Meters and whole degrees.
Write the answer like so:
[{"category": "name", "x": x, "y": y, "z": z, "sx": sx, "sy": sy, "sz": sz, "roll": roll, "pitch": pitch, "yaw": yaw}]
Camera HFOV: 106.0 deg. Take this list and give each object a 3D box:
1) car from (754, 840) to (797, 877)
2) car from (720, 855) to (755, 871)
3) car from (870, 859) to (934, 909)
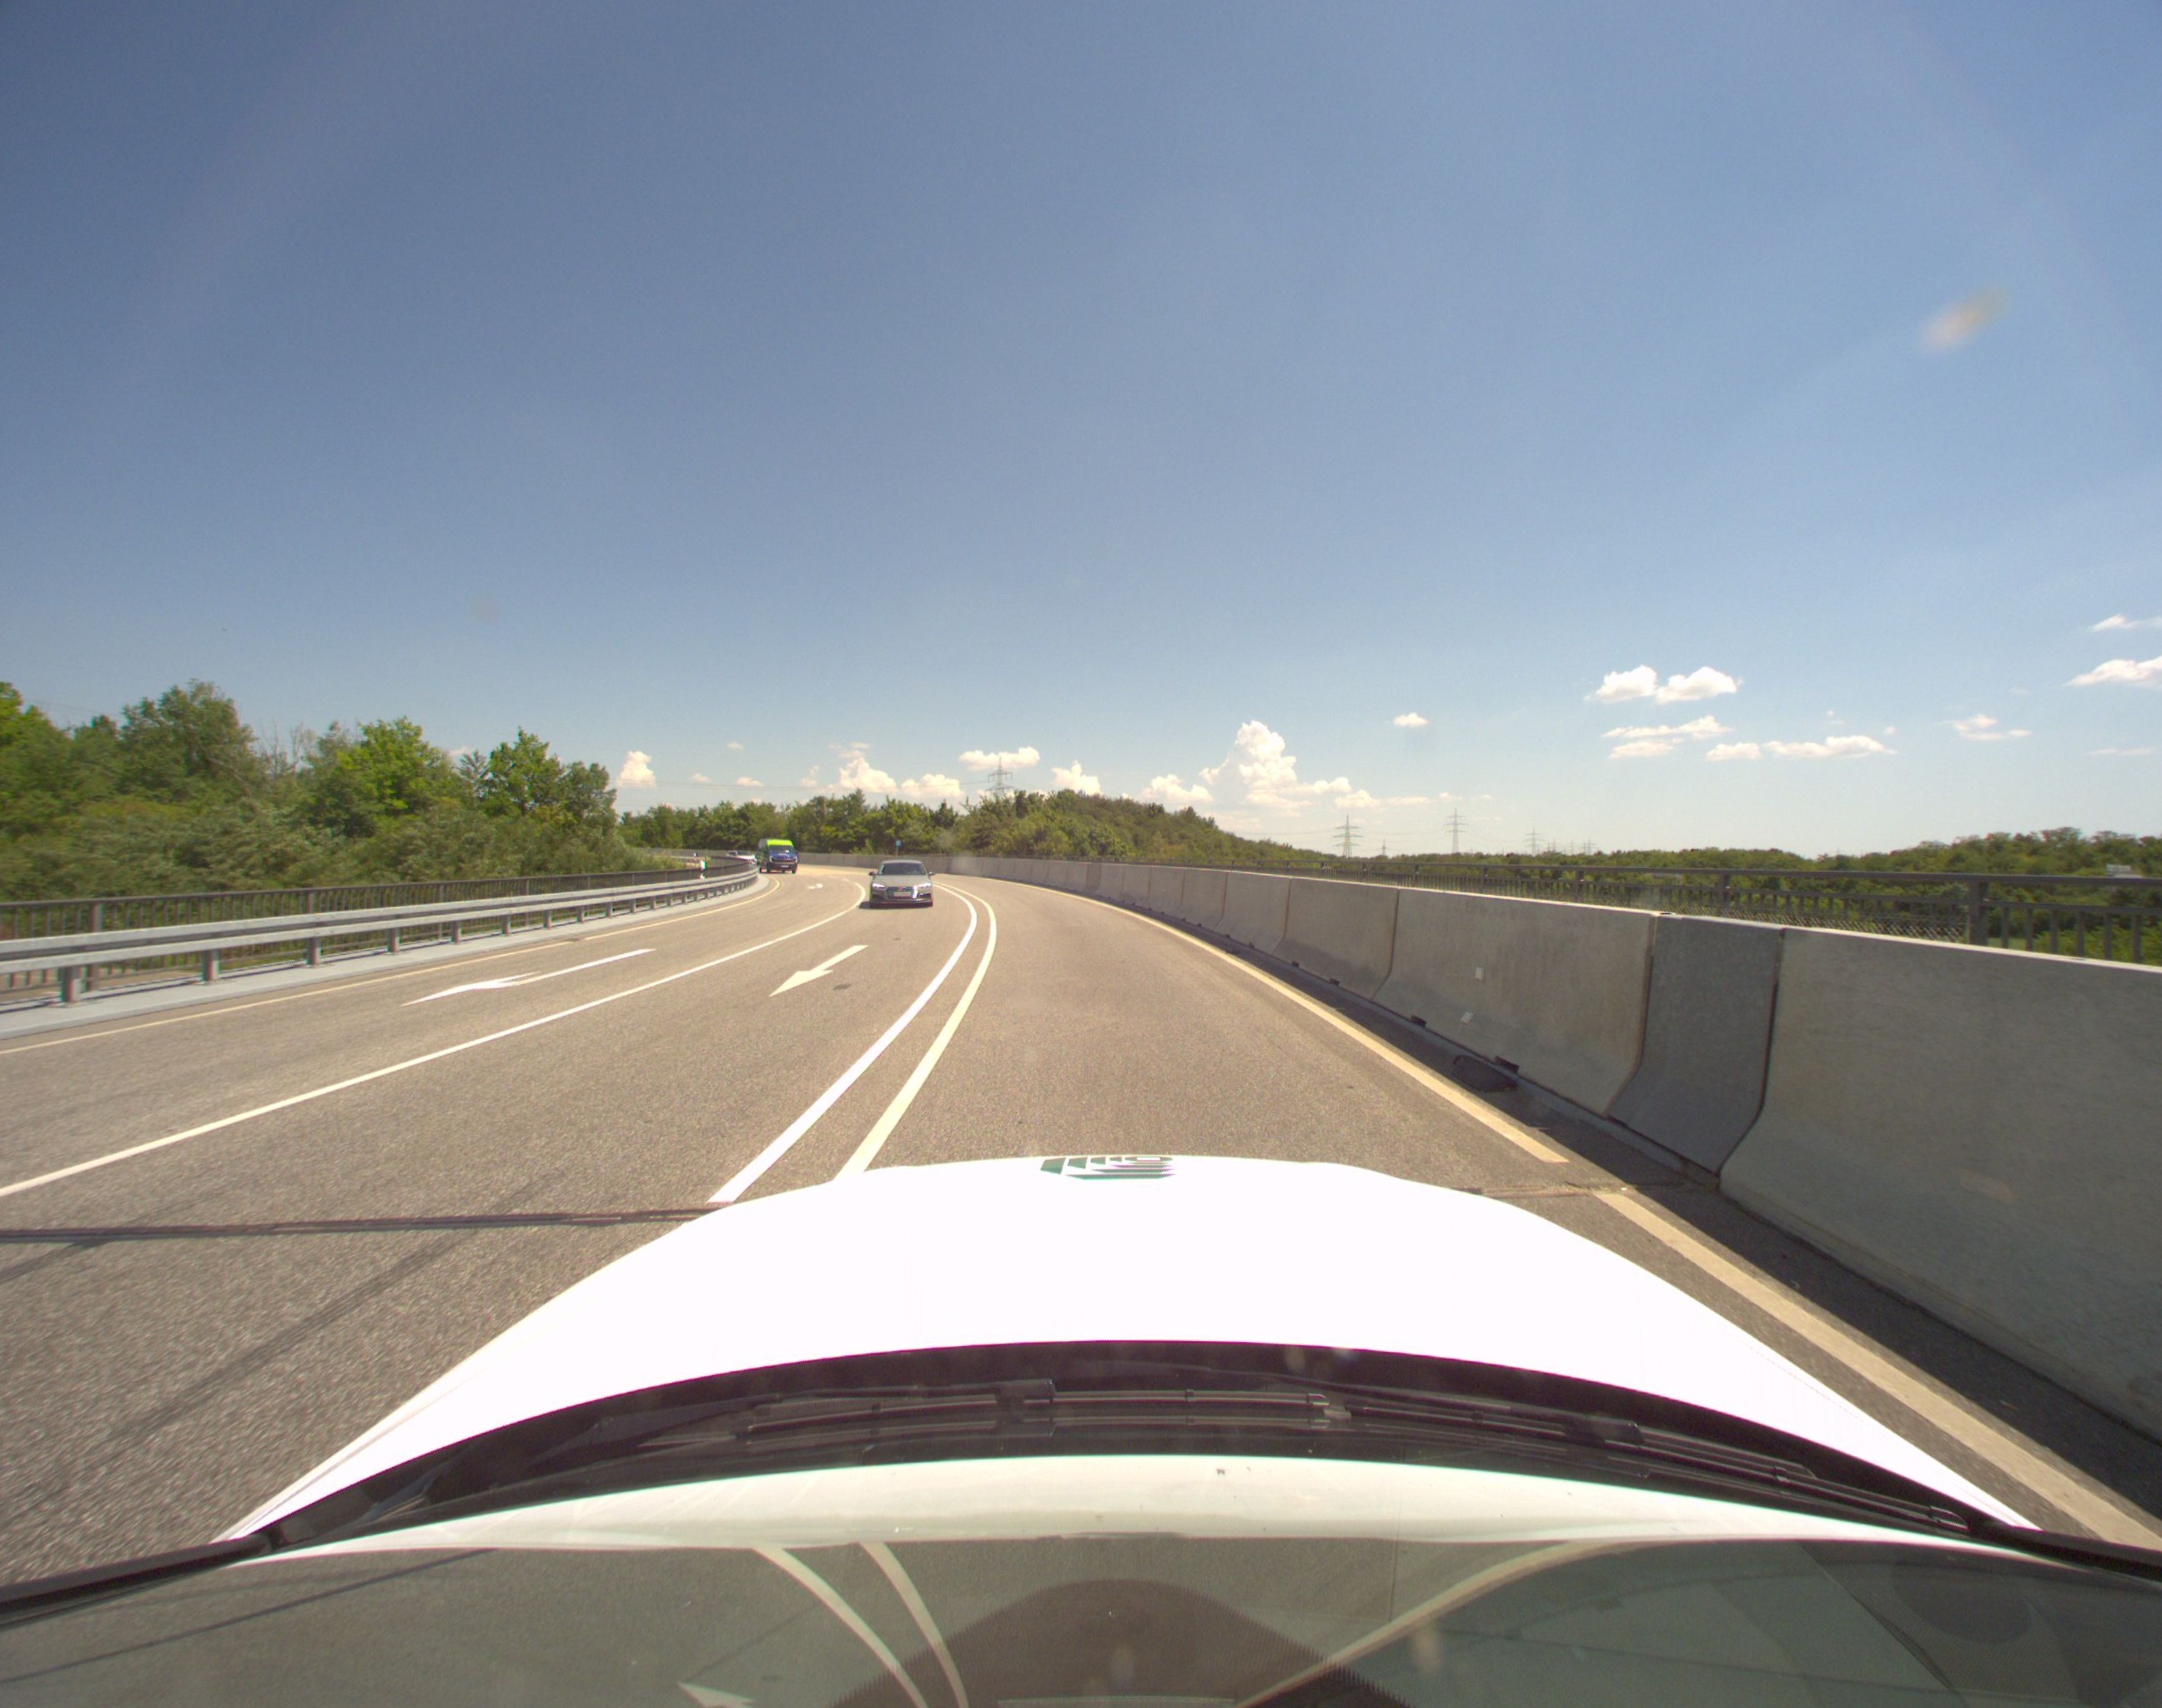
[{"category": "car", "x": -22.555, "y": 0.274, "z": 60.061, "sx": 2.006, "sy": 2.483, "sz": 5.430, "roll": -4, "pitch": 4, "yaw": -29}, {"category": "car", "x": -34.017, "y": 0.855, "z": 80.673, "sx": 1.758, "sy": 1.459, "sz": 4.313, "roll": -3, "pitch": 1, "yaw": -43}, {"category": "car", "x": -5.564, "y": 0.870, "z": 25.505, "sx": 1.780, "sy": 1.384, "sz": 4.264, "roll": -1, "pitch": 0, "yaw": -12}]
